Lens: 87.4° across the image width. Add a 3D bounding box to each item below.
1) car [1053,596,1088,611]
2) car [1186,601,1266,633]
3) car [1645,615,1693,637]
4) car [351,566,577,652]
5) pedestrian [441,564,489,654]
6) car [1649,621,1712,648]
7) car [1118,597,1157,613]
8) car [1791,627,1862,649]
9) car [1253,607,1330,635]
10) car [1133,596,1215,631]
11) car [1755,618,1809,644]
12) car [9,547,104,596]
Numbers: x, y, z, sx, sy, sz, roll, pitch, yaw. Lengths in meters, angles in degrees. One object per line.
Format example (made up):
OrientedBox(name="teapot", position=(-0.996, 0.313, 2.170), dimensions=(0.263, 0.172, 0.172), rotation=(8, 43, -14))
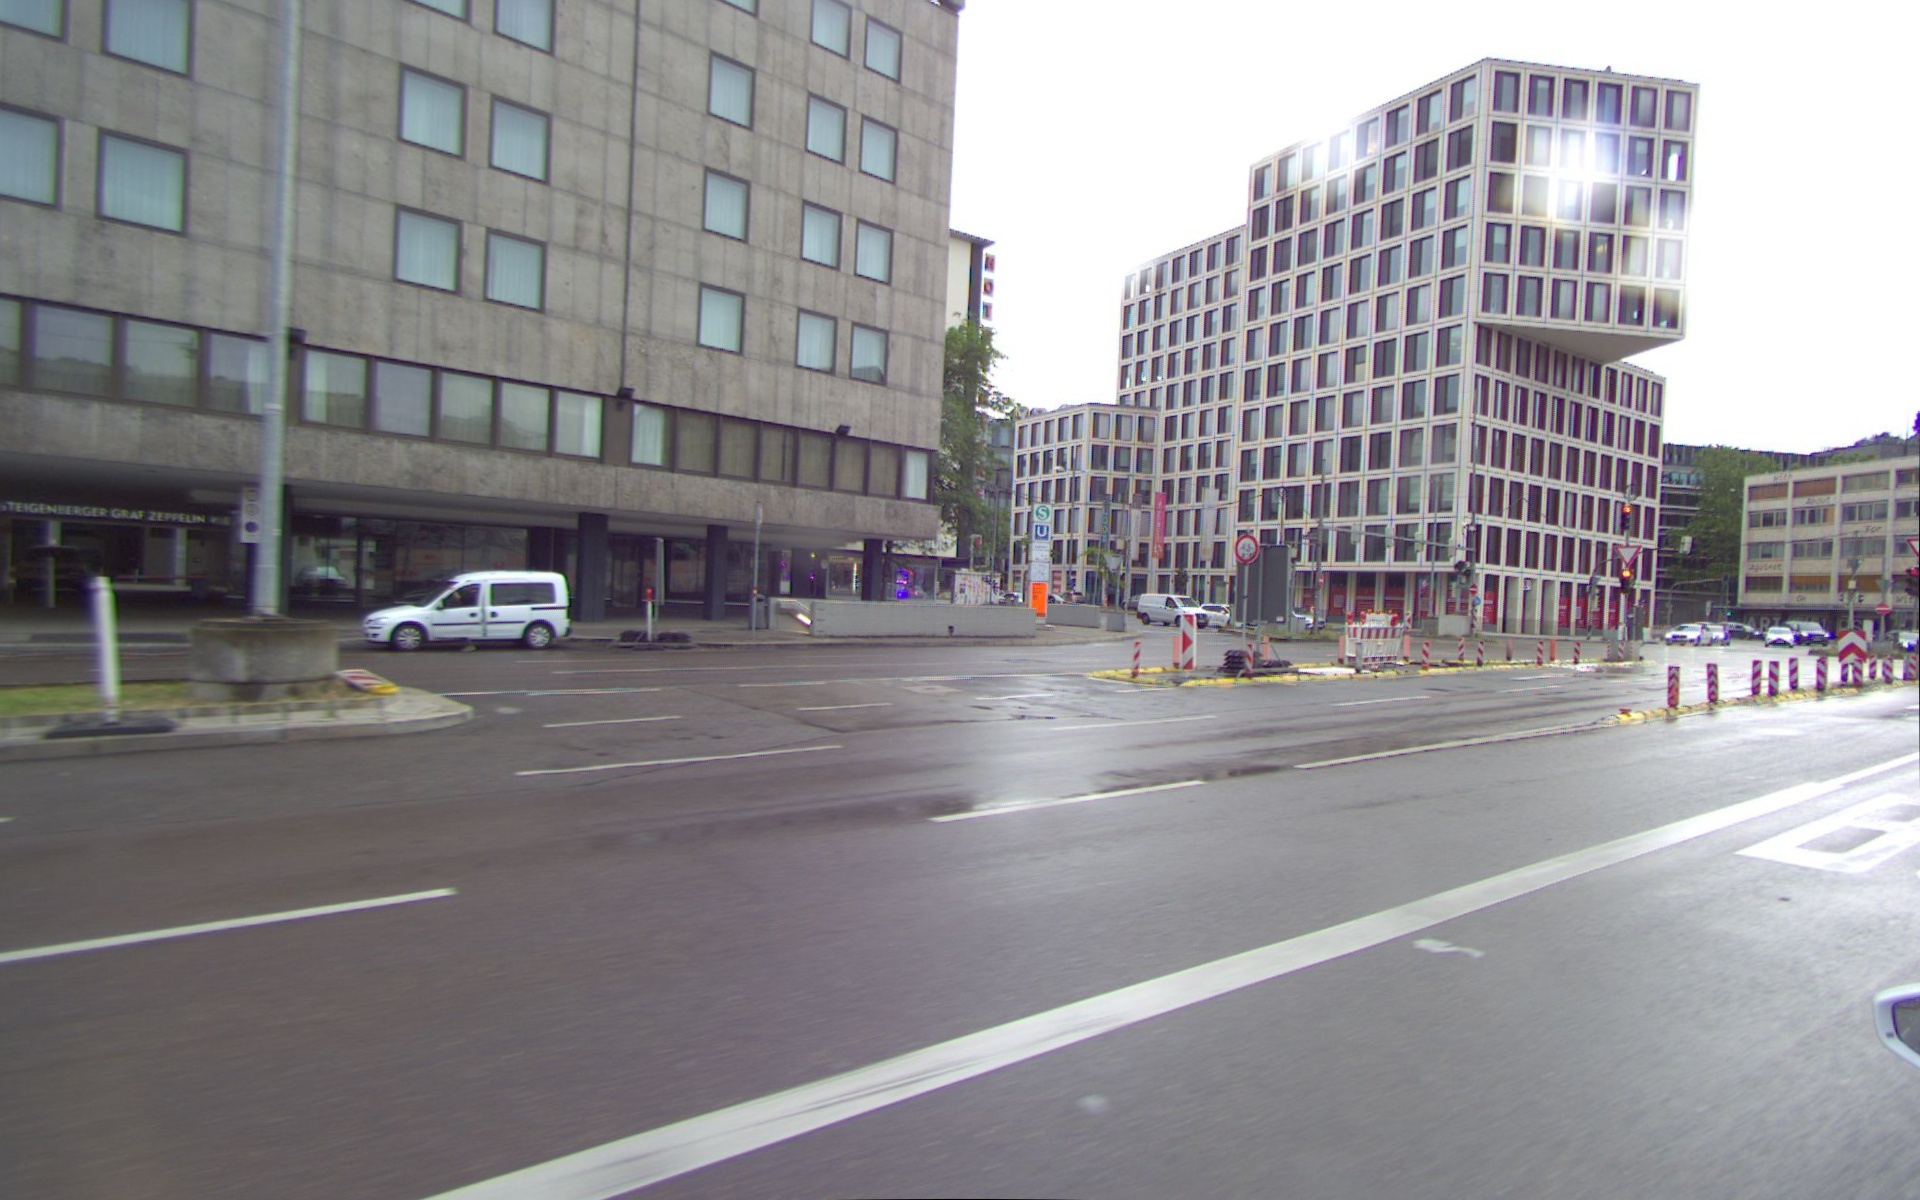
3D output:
OrientedBox(name="car", position=(12.101, 0.413, 110.424), dimensions=(1.844, 1.543, 3.971), rotation=(2, 0, -28))
OrientedBox(name="car", position=(16.103, 1.006, 61.092), dimensions=(1.995, 1.761, 4.624), rotation=(1, 0, -31))
OrientedBox(name="car", position=(64.756, 2.361, 91.780), dimensions=(1.769, 1.840, 4.001), rotation=(2, 1, 5))
OrientedBox(name="car", position=(-11.259, 0.211, 22.959), dimensions=(4.334, 1.786, 1.760), rotation=(1, 1, -39))
OrientedBox(name="pedestrian", position=(-10.729, 0.196, 21.776), dimensions=(0.789, 1.911, 0.685), rotation=(1, 1, -39))
OrientedBox(name="car", position=(50.245, 2.426, 70.003), dimensions=(4.767, 1.776, 2.206), rotation=(2, 0, -37))
OrientedBox(name="car", position=(17.745, 0.505, 100.501), dimensions=(1.843, 1.543, 3.973), rotation=(2, 0, -26))
OrientedBox(name="car", position=(68.047, 2.947, 78.964), dimensions=(1.855, 1.578, 3.996), rotation=(2, 0, -6))
OrientedBox(name="car", position=(21.281, 1.299, 64.659), dimensions=(1.992, 1.620, 4.632), rotation=(1, 0, -26))
OrientedBox(name="car", position=(12.750, 0.757, 60.219), dimensions=(2.062, 1.930, 5.047), rotation=(1, 0, -28))
OrientedBox(name="car", position=(60.966, 2.318, 74.510), dimensions=(3.953, 1.840, 1.791), rotation=(1, 1, -30))
OrientedBox(name="car", position=(-35.099, -1.087, 39.161), dimensions=(2.248, 1.751, 4.826), rotation=(1, 0, -36))
